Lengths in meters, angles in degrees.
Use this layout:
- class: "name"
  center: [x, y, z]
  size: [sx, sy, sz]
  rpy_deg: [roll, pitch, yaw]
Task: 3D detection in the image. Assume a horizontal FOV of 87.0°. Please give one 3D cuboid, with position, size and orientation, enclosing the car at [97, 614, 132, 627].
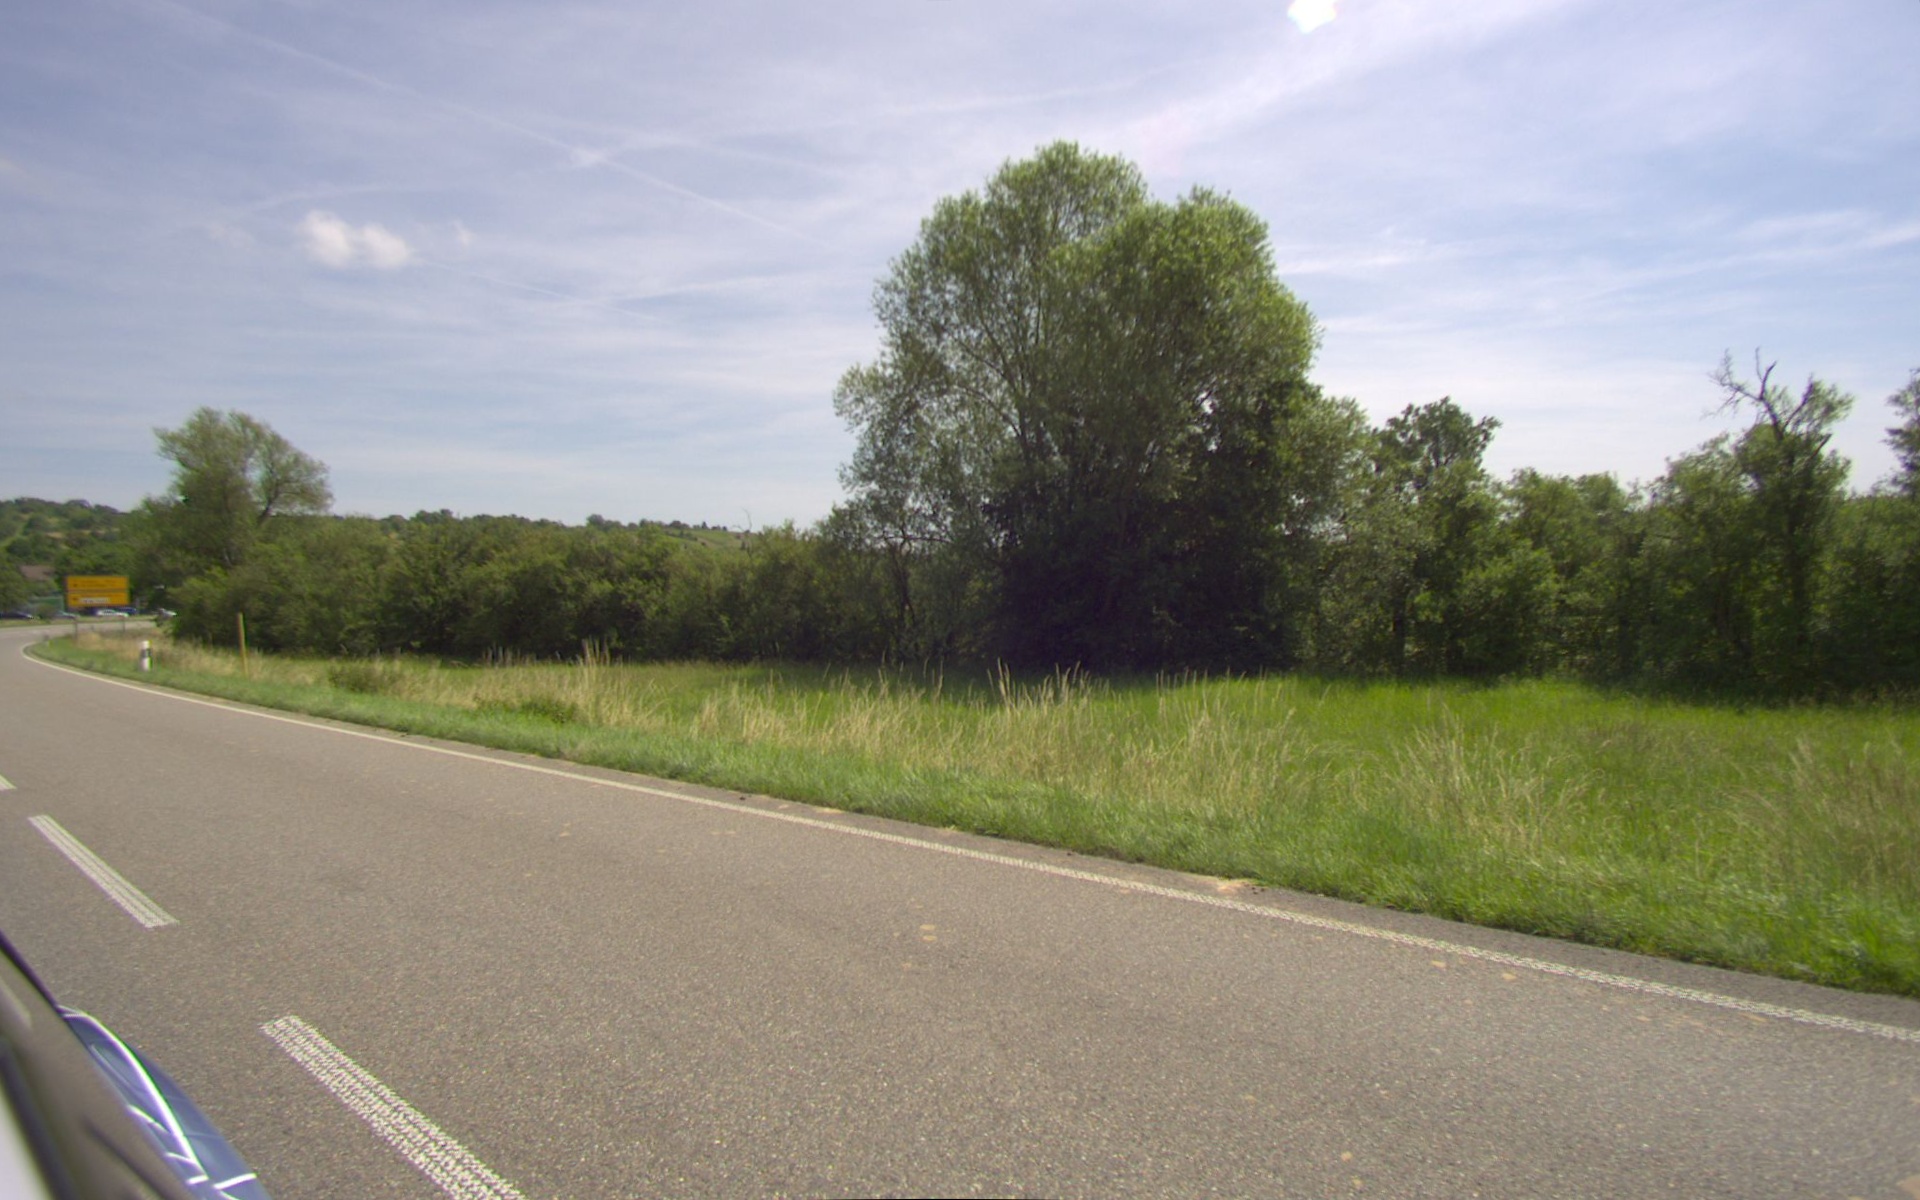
- class: "car"
  center: [-138.766, 3.369, 166.092]
  size: [3.931, 2.029, 1.894]
  rpy_deg: [1, -1, -19]

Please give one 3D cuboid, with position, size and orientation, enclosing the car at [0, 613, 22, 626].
- class: "car"
  center: [-151.610, 3.015, 160.647]
  size: [3.937, 2.029, 1.891]
  rpy_deg: [2, -2, -41]
